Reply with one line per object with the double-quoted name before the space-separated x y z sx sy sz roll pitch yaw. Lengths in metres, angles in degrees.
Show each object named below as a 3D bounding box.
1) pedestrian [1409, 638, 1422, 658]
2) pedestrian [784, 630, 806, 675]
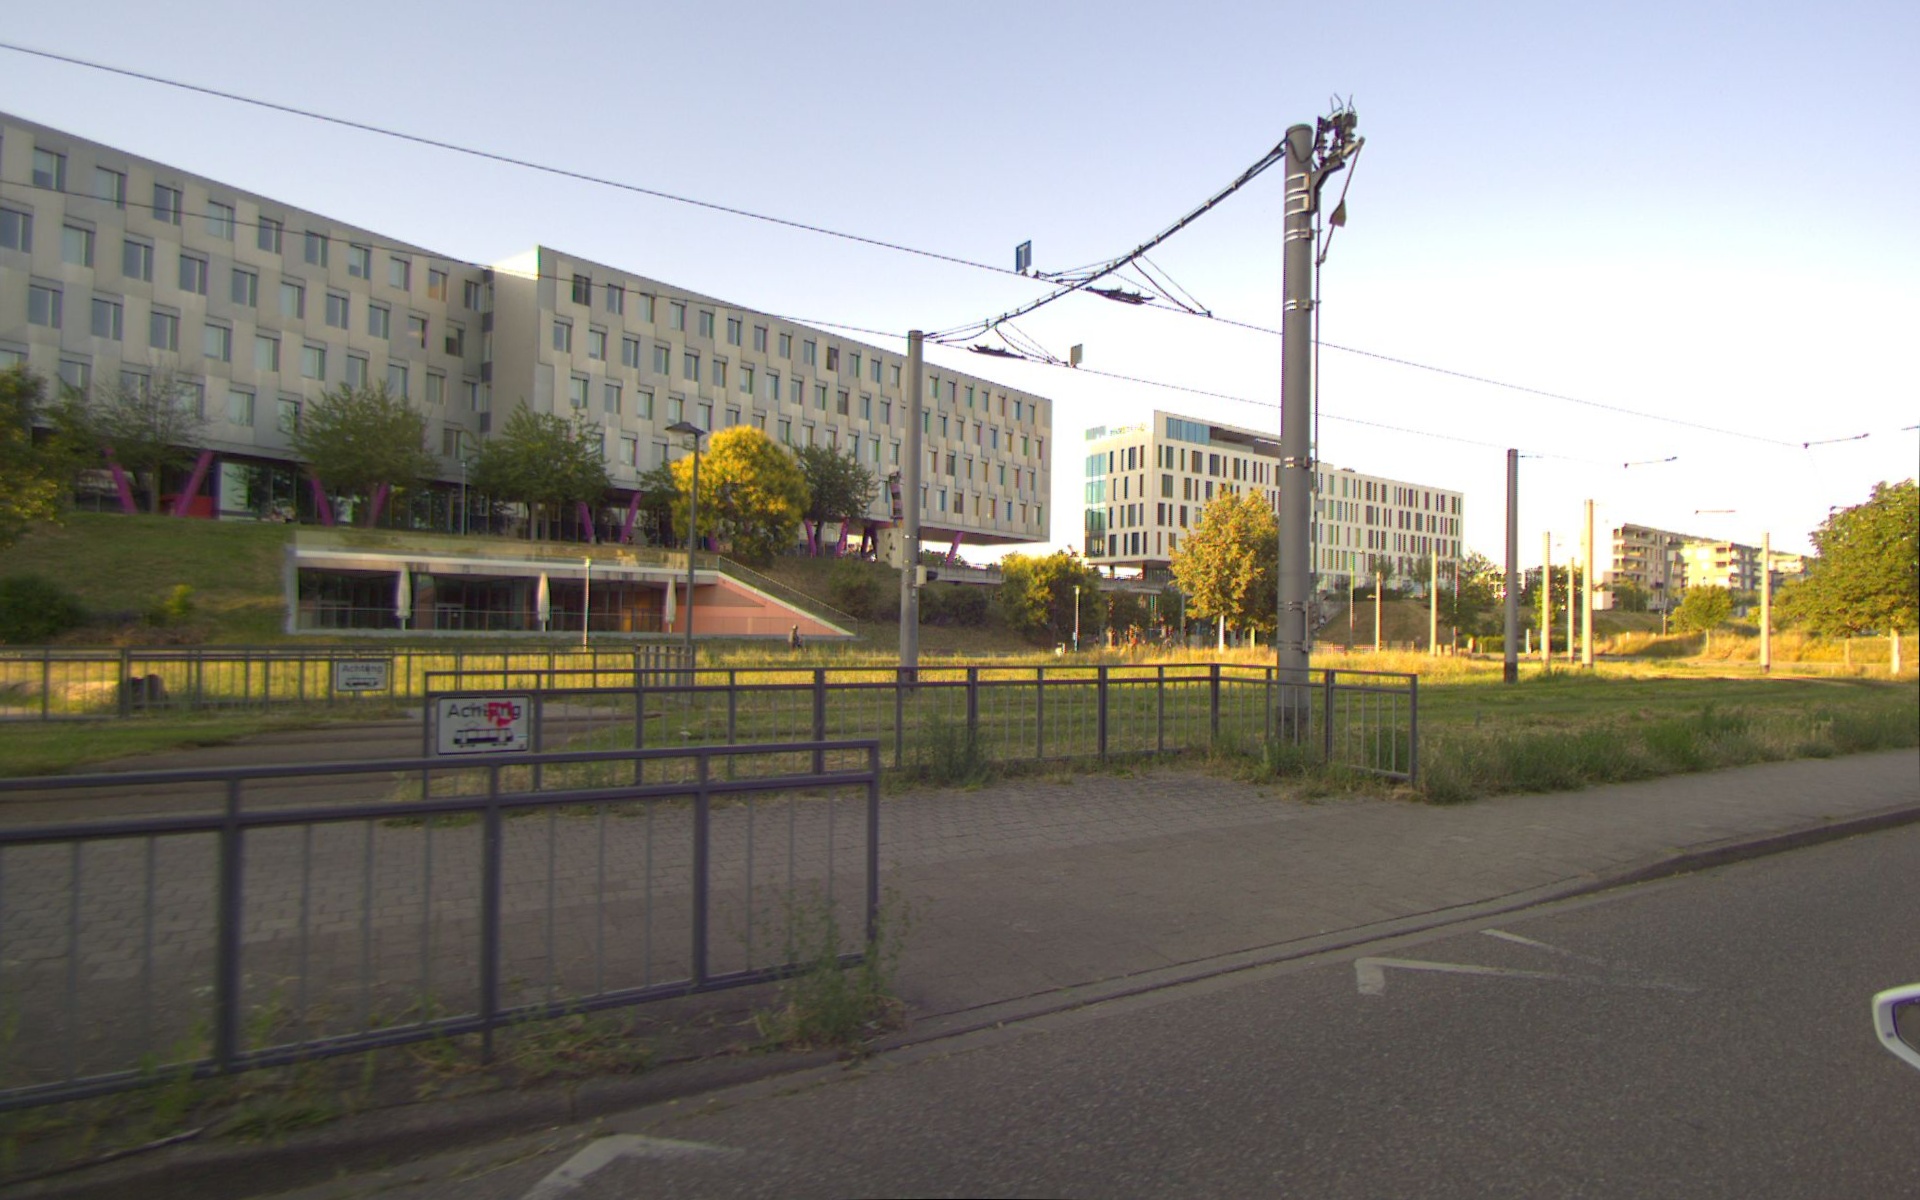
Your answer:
"pedestrian" 43.368 4.573 95.576 0.803 1.809 0.784 2 -2 -27
"pedestrian" -7.894 2.494 48.084 0.781 2.110 0.613 2 0 -31
